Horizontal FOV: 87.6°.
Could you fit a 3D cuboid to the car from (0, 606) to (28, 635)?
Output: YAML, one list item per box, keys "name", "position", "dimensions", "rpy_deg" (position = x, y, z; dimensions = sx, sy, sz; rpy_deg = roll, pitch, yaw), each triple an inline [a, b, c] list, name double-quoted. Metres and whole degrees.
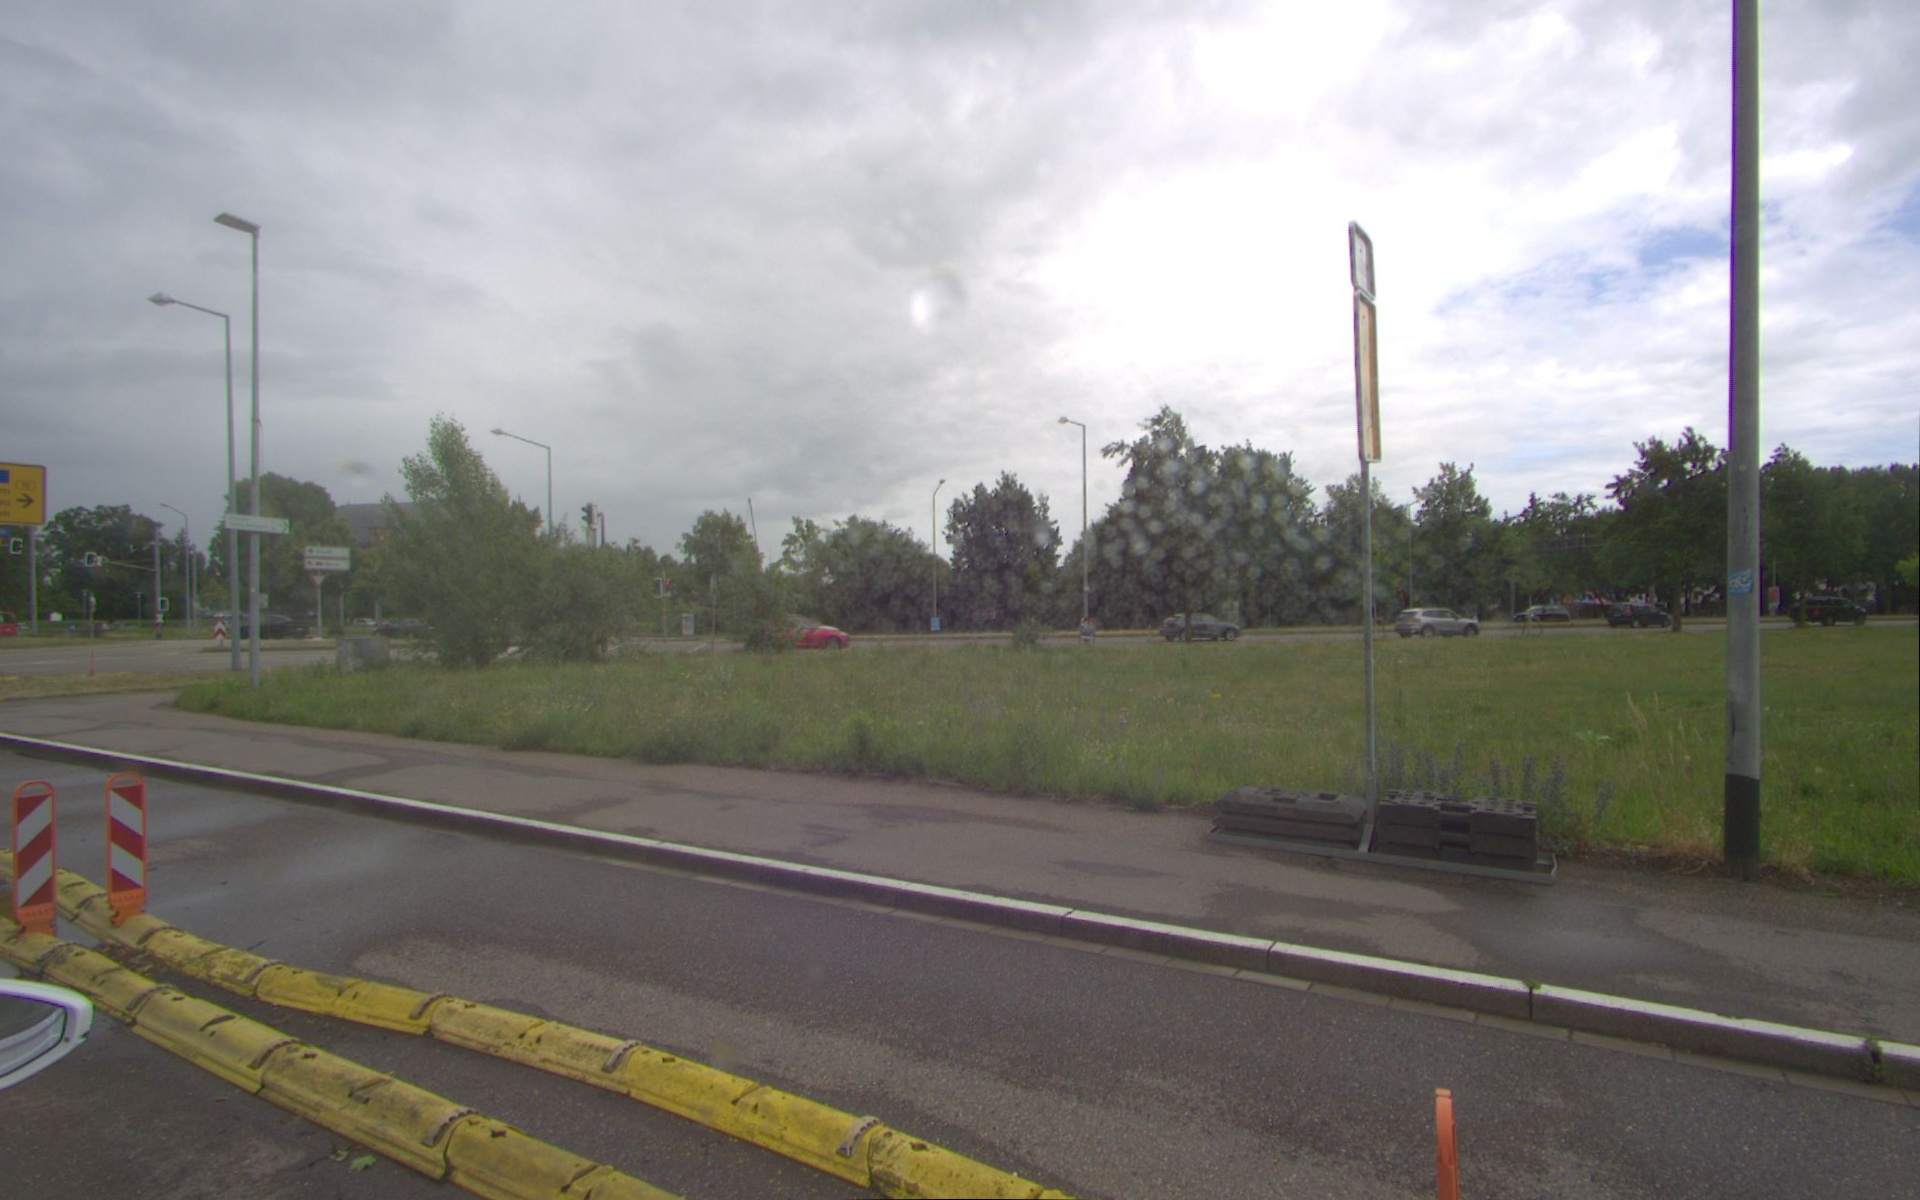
- name: "car"
  position: [-67.618, 1.429, 68.818]
  dimensions: [4.800, 1.943, 2.113]
  rpy_deg: [0, 0, -13]

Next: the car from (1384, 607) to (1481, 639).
- name: "car"
  position: [24.706, 1.158, 52.355]
  dimensions: [4.453, 1.604, 1.996]
  rpy_deg: [0, 0, -18]

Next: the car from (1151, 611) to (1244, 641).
- name: "car"
  position: [12.295, 1.339, 51.942]
  dimensions: [4.242, 1.483, 1.998]
  rpy_deg: [0, 0, -12]

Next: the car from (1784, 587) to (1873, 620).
- name: "car"
  position: [55.543, 0.218, 64.040]
  dimensions: [4.957, 1.998, 2.218]
  rpy_deg: [0, 0, -21]

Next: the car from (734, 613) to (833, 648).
- name: "car"
  position: [-8.040, 1.356, 45.483]
  dimensions: [4.279, 1.483, 1.858]
  rpy_deg: [0, 0, -16]

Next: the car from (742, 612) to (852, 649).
- name: "car"
  position: [-6.920, 1.247, 42.541]
  dimensions: [4.286, 1.483, 1.993]
  rpy_deg: [0, 0, -23]

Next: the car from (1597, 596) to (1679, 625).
- name: "car"
  position: [43.434, 0.666, 64.190]
  dimensions: [4.131, 1.837, 2.075]
  rpy_deg: [0, 0, -13]
